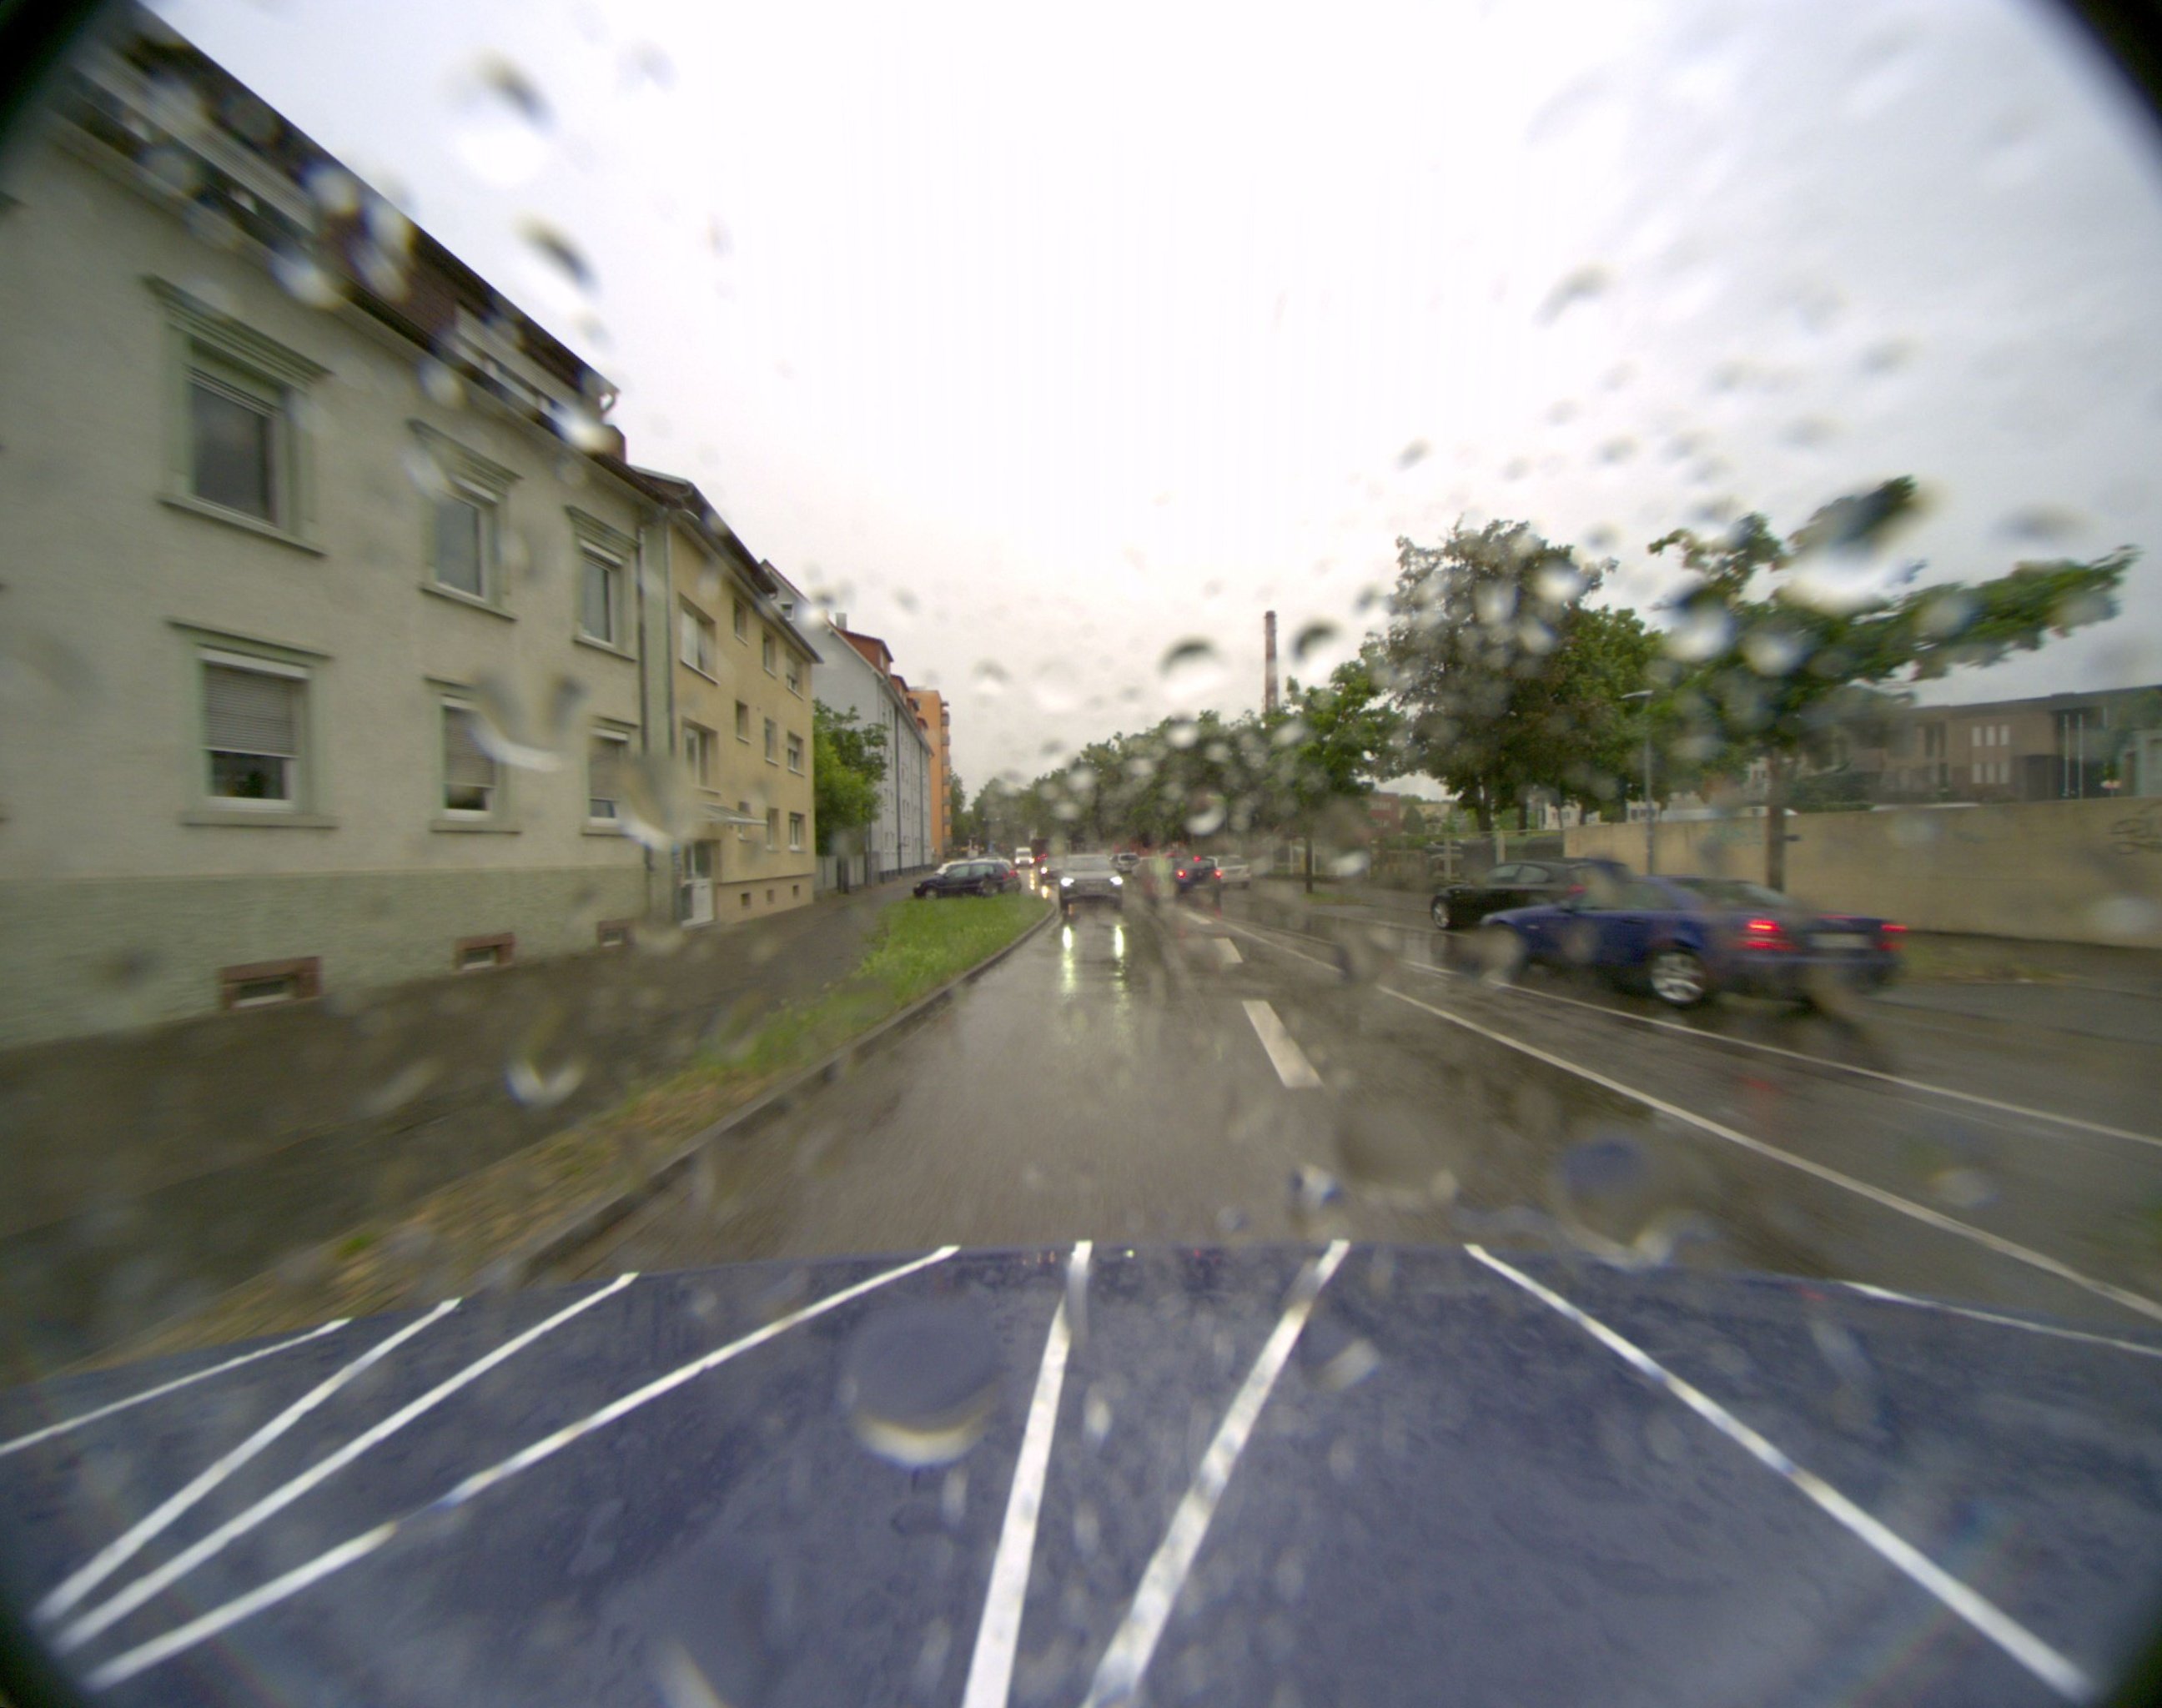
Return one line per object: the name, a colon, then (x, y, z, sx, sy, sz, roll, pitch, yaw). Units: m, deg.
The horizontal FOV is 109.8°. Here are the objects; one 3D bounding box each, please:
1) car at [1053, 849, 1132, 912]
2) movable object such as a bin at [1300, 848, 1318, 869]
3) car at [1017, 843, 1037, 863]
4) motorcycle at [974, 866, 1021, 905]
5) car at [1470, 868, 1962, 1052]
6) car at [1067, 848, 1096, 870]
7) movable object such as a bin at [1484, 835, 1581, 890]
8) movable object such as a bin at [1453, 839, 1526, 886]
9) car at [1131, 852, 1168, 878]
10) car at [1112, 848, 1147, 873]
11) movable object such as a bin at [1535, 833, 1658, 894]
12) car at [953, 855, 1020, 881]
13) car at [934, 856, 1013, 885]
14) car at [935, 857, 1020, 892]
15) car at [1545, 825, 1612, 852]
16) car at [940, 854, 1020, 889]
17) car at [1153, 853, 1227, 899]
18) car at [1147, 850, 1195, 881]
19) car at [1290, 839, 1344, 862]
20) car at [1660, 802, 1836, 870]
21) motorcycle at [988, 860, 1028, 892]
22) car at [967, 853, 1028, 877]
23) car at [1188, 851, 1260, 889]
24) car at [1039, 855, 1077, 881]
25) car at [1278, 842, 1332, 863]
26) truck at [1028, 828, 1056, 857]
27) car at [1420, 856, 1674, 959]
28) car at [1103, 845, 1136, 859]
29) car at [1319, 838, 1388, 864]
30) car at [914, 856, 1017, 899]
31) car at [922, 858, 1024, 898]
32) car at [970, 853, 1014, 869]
car: (0.260, 0.754, 23.833, 1.962, 1.702, 4.171, -2, 1, -6)
movable object such as a bin: (10.634, 0.201, 35.441, 0.547, 0.980, 0.713, -2, 1, -5)
car: (-6.594, -0.129, 92.617, 2.195, 2.243, 4.881, -2, 1, -6)
motorcycle: (-2.991, 1.111, 27.284, 1.594, 1.317, 0.694, -2, 0, -7)
car: (6.318, 0.917, 8.279, 1.732, 1.385, 3.947, 1, 1, -8)
car: (0.019, 0.405, 64.910, 2.071, 1.732, 4.172, -2, 1, -5)
movable object such as a bin: (12.701, 0.221, 21.450, 1.564, 1.433, 1.830, -2, 1, -5)
movable object such as a bin: (12.447, 0.238, 23.219, 1.495, 1.360, 1.262, -2, 1, -5)
car: (4.243, 0.648, 47.490, 1.695, 1.445, 3.716, -2, 1, -5)
car: (3.560, 0.448, 56.313, 1.883, 1.672, 4.035, -2, 1, -6)
movable object such as a bin: (13.094, 0.224, 19.385, 1.915, 1.416, 1.755, -2, 1, -5)
car: (-6.028, 0.881, 49.045, 4.173, 1.468, 1.649, -2, 1, -5)
car: (-6.243, 0.935, 44.571, 4.390, 1.468, 2.049, -2, 1, -5)
car: (-4.923, 0.977, 36.710, 3.925, 1.472, 1.856, -2, 1, -5)
car: (39.877, -1.215, 60.942, 2.003, 2.002, 3.989, -3, 1, -37)
car: (-5.161, 0.877, 39.147, 3.925, 1.605, 1.691, -2, 1, -5)
car: (3.905, 0.752, 27.860, 1.711, 1.492, 3.943, 1, 1, -7)
car: (4.912, 0.602, 42.135, 1.629, 1.589, 3.794, -2, 1, -9)
car: (20.188, -0.288, 65.141, 2.003, 1.871, 3.989, -3, 1, -38)
car: (25.500, -0.644, 29.219, 2.153, 2.383, 4.708, -3, 1, -36)
motorcycle: (-3.326, 1.001, 34.863, 1.768, 1.365, 0.734, -2, 1, -5)
car: (-5.922, 0.770, 54.145, 4.173, 1.561, 1.649, -2, 1, -5)
car: (6.278, 0.655, 33.985, 1.780, 1.452, 4.676, -2, 1, -7)
car: (-1.425, 0.790, 45.711, 1.962, 1.382, 4.171, -2, 1, -6)
car: (18.646, -0.098, 63.281, 1.774, 1.661, 3.989, -3, 1, -38)
truck: (-6.341, -1.914, 122.717, 3.835, 4.360, 10.778, -2, 1, -6)
car: (8.101, 0.817, 13.723, 1.701, 1.437, 4.094, -3, 1, -7)
car: (5.076, -0.263, 100.073, 4.007, 1.752, 1.994, -3, 2, -41)
car: (18.793, -0.222, 52.551, 2.070, 1.661, 3.989, -3, 1, -38)
car: (-4.394, 0.883, 29.343, 3.762, 1.446, 1.800, -2, -1, -6)
car: (-4.498, 0.983, 31.959, 4.065, 1.446, 1.933, -2, -1, -6)
car: (-8.812, 0.679, 75.293, 4.173, 1.445, 1.649, -2, 1, -5)
